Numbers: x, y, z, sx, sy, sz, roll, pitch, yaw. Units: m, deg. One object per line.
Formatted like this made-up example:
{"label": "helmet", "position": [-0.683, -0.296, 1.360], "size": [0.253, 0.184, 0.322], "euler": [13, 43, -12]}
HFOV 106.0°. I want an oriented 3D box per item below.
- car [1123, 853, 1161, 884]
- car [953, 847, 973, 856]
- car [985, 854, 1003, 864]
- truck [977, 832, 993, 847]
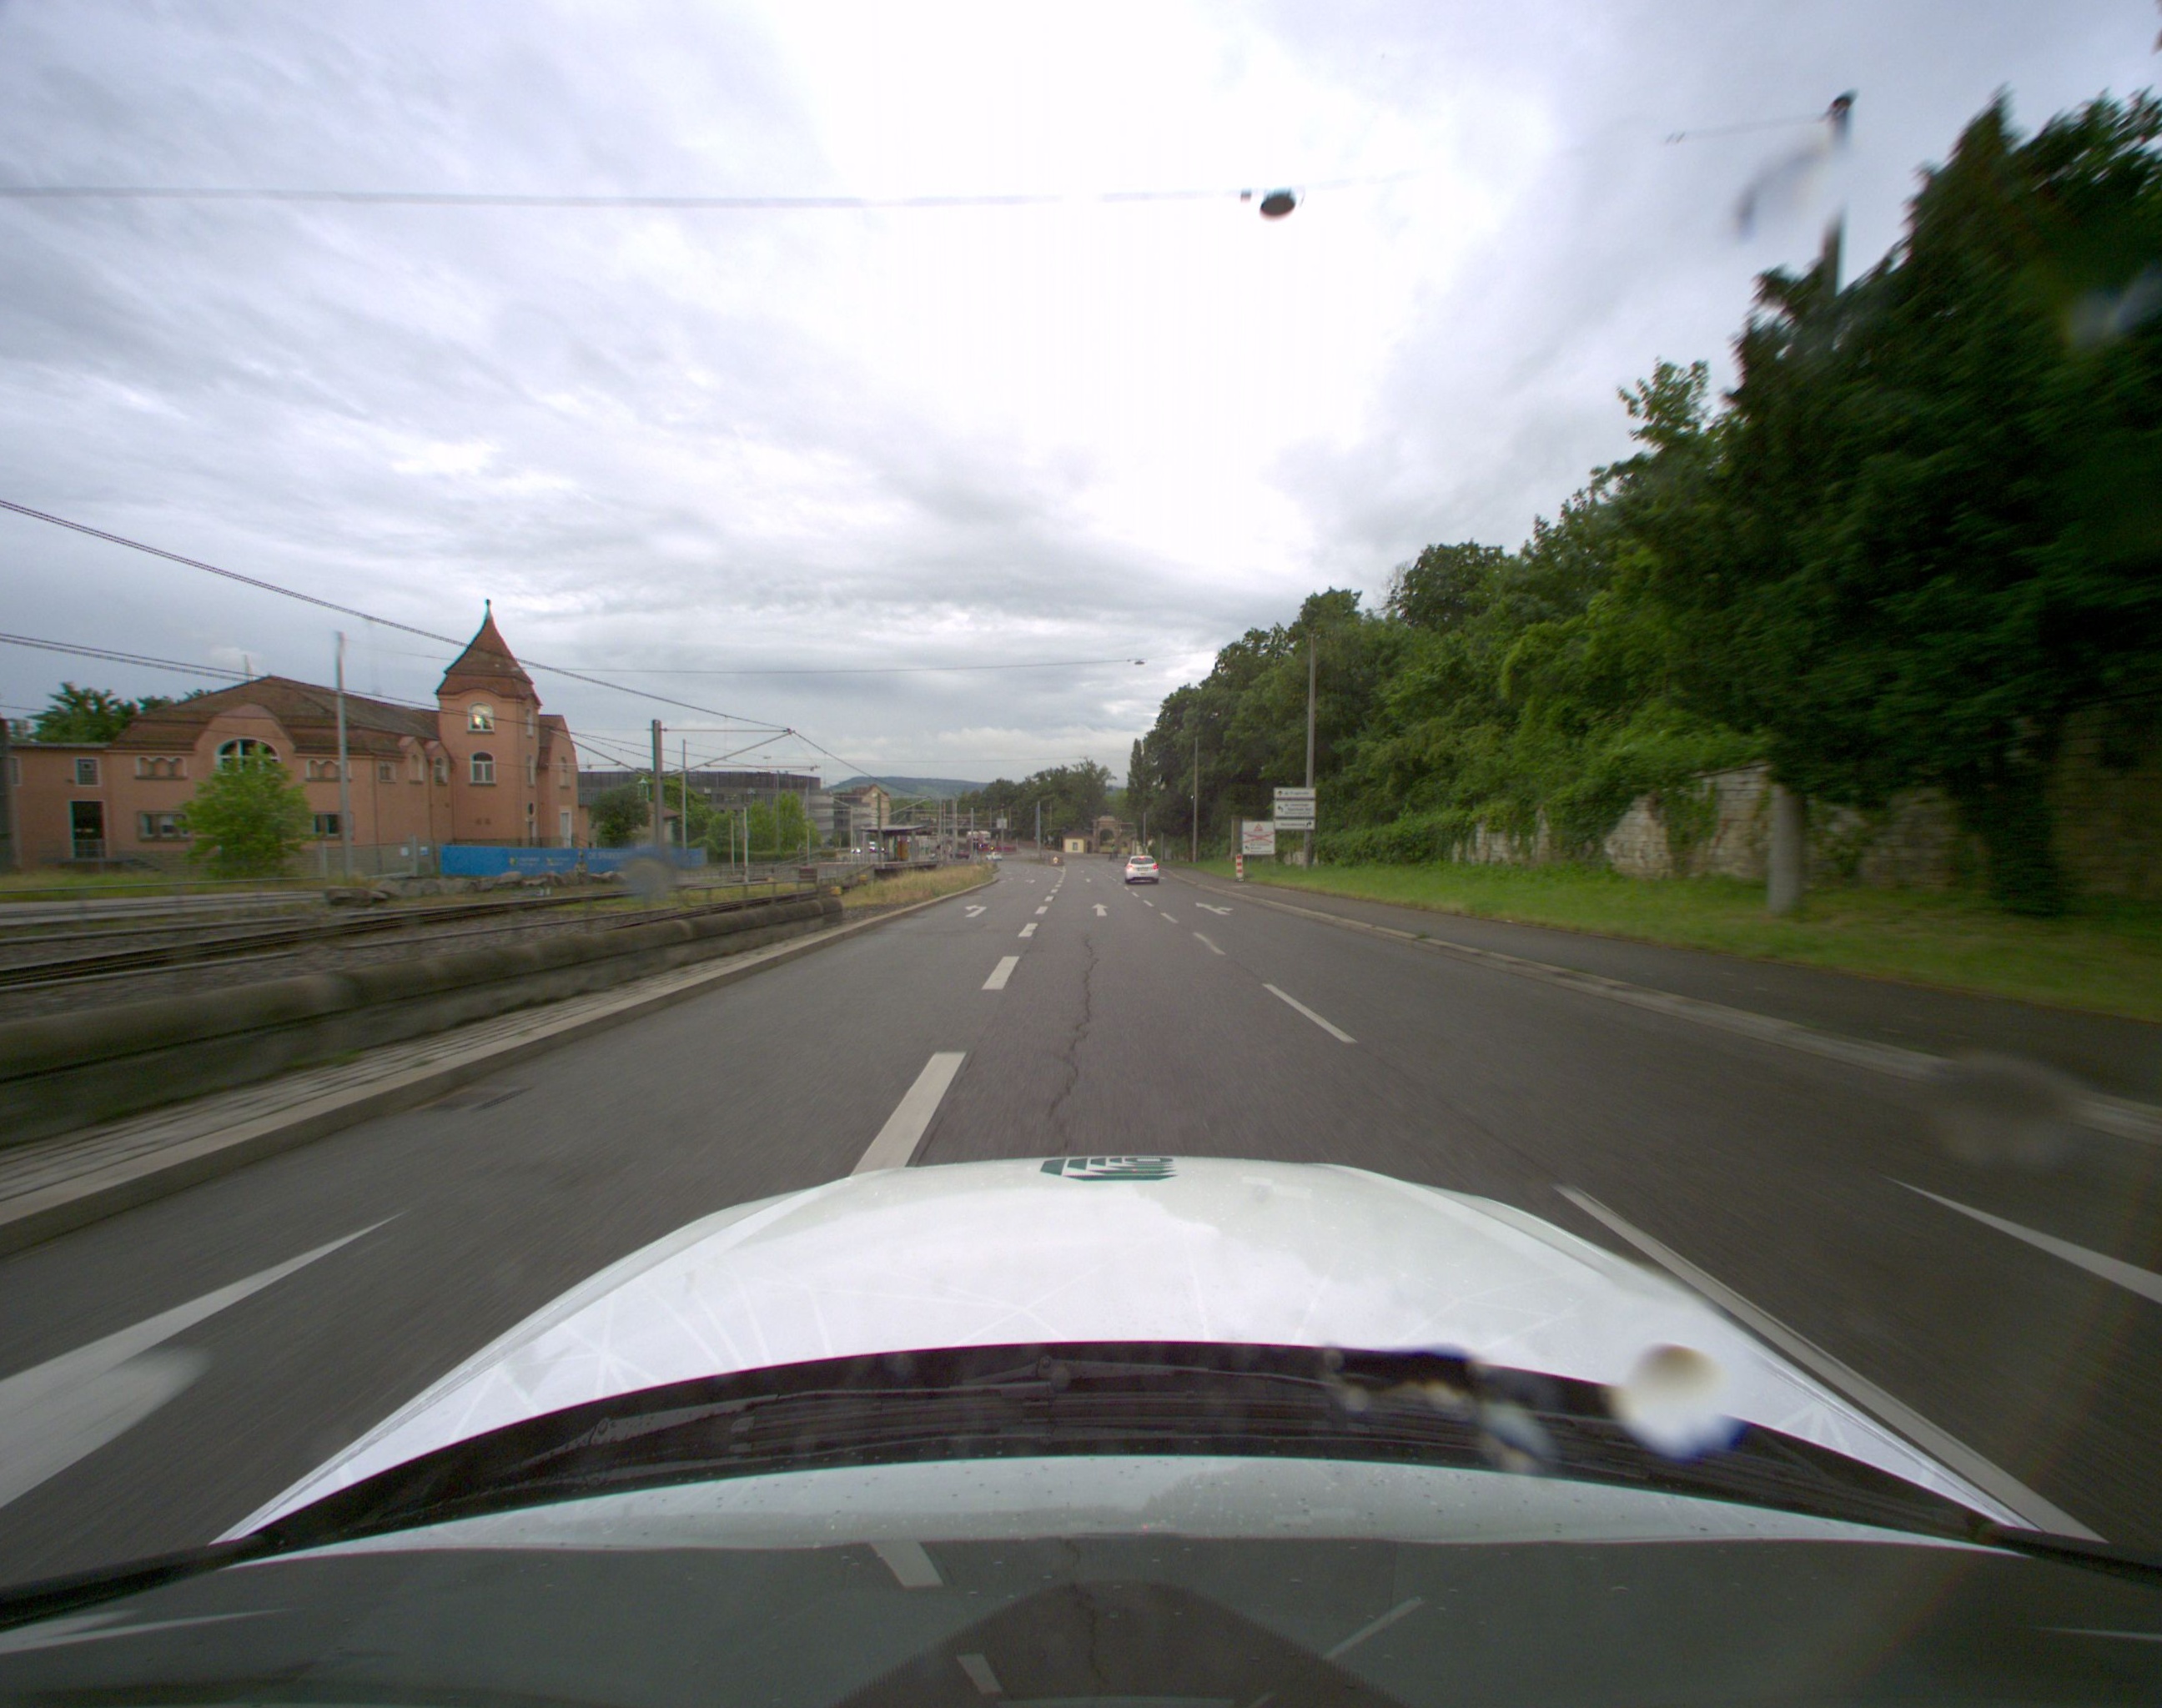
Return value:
{"label": "car", "position": [3.211, 0.765, 43.579], "size": [1.861, 1.511, 3.901], "euler": [-2, -1, 2]}
{"label": "car", "position": [-22.087, -0.434, 152.177], "size": [2.009, 1.706, 3.957], "euler": [0, 0, -35]}
{"label": "car", "position": [-15.185, 0.876, 141.721], "size": [1.832, 1.606, 3.965], "euler": [-1, 0, -27]}
{"label": "truck", "position": [-30.830, -4.509, 261.027], "size": [3.418, 4.570, 11.235], "euler": [3, 0, -13]}
